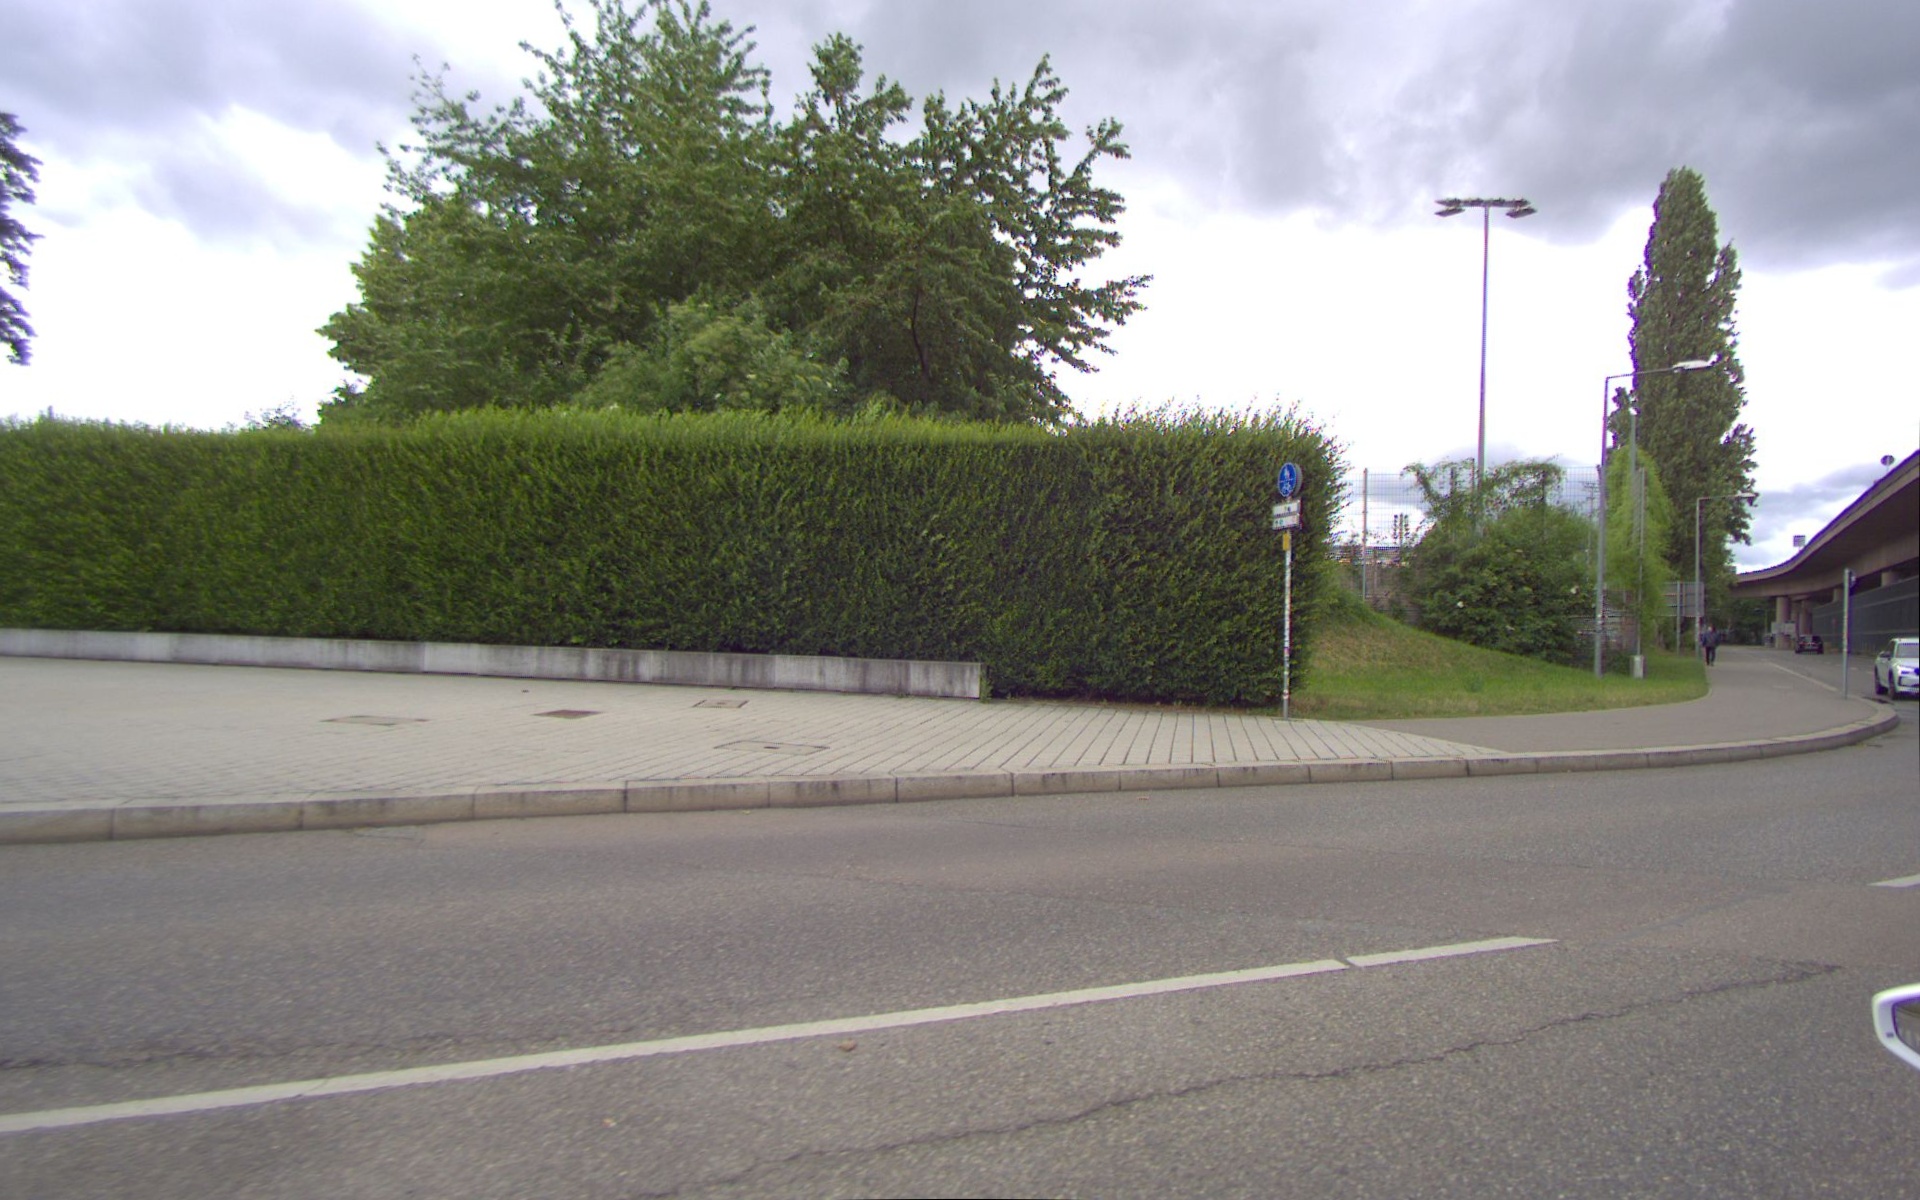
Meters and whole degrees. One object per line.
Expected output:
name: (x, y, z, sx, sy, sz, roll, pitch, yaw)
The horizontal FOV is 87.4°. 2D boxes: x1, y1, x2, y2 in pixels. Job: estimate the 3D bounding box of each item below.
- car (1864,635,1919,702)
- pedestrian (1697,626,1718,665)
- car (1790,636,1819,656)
car: (26.492, 1.846, 27.630, 1.839, 1.706, 4.392, 0, -1, 35)
pedestrian: (34.914, 2.114, 46.917, 0.793, 1.804, 0.917, 0, 0, 37)
car: (77.888, 4.202, 92.630, 1.816, 1.734, 3.691, 0, 0, 37)
